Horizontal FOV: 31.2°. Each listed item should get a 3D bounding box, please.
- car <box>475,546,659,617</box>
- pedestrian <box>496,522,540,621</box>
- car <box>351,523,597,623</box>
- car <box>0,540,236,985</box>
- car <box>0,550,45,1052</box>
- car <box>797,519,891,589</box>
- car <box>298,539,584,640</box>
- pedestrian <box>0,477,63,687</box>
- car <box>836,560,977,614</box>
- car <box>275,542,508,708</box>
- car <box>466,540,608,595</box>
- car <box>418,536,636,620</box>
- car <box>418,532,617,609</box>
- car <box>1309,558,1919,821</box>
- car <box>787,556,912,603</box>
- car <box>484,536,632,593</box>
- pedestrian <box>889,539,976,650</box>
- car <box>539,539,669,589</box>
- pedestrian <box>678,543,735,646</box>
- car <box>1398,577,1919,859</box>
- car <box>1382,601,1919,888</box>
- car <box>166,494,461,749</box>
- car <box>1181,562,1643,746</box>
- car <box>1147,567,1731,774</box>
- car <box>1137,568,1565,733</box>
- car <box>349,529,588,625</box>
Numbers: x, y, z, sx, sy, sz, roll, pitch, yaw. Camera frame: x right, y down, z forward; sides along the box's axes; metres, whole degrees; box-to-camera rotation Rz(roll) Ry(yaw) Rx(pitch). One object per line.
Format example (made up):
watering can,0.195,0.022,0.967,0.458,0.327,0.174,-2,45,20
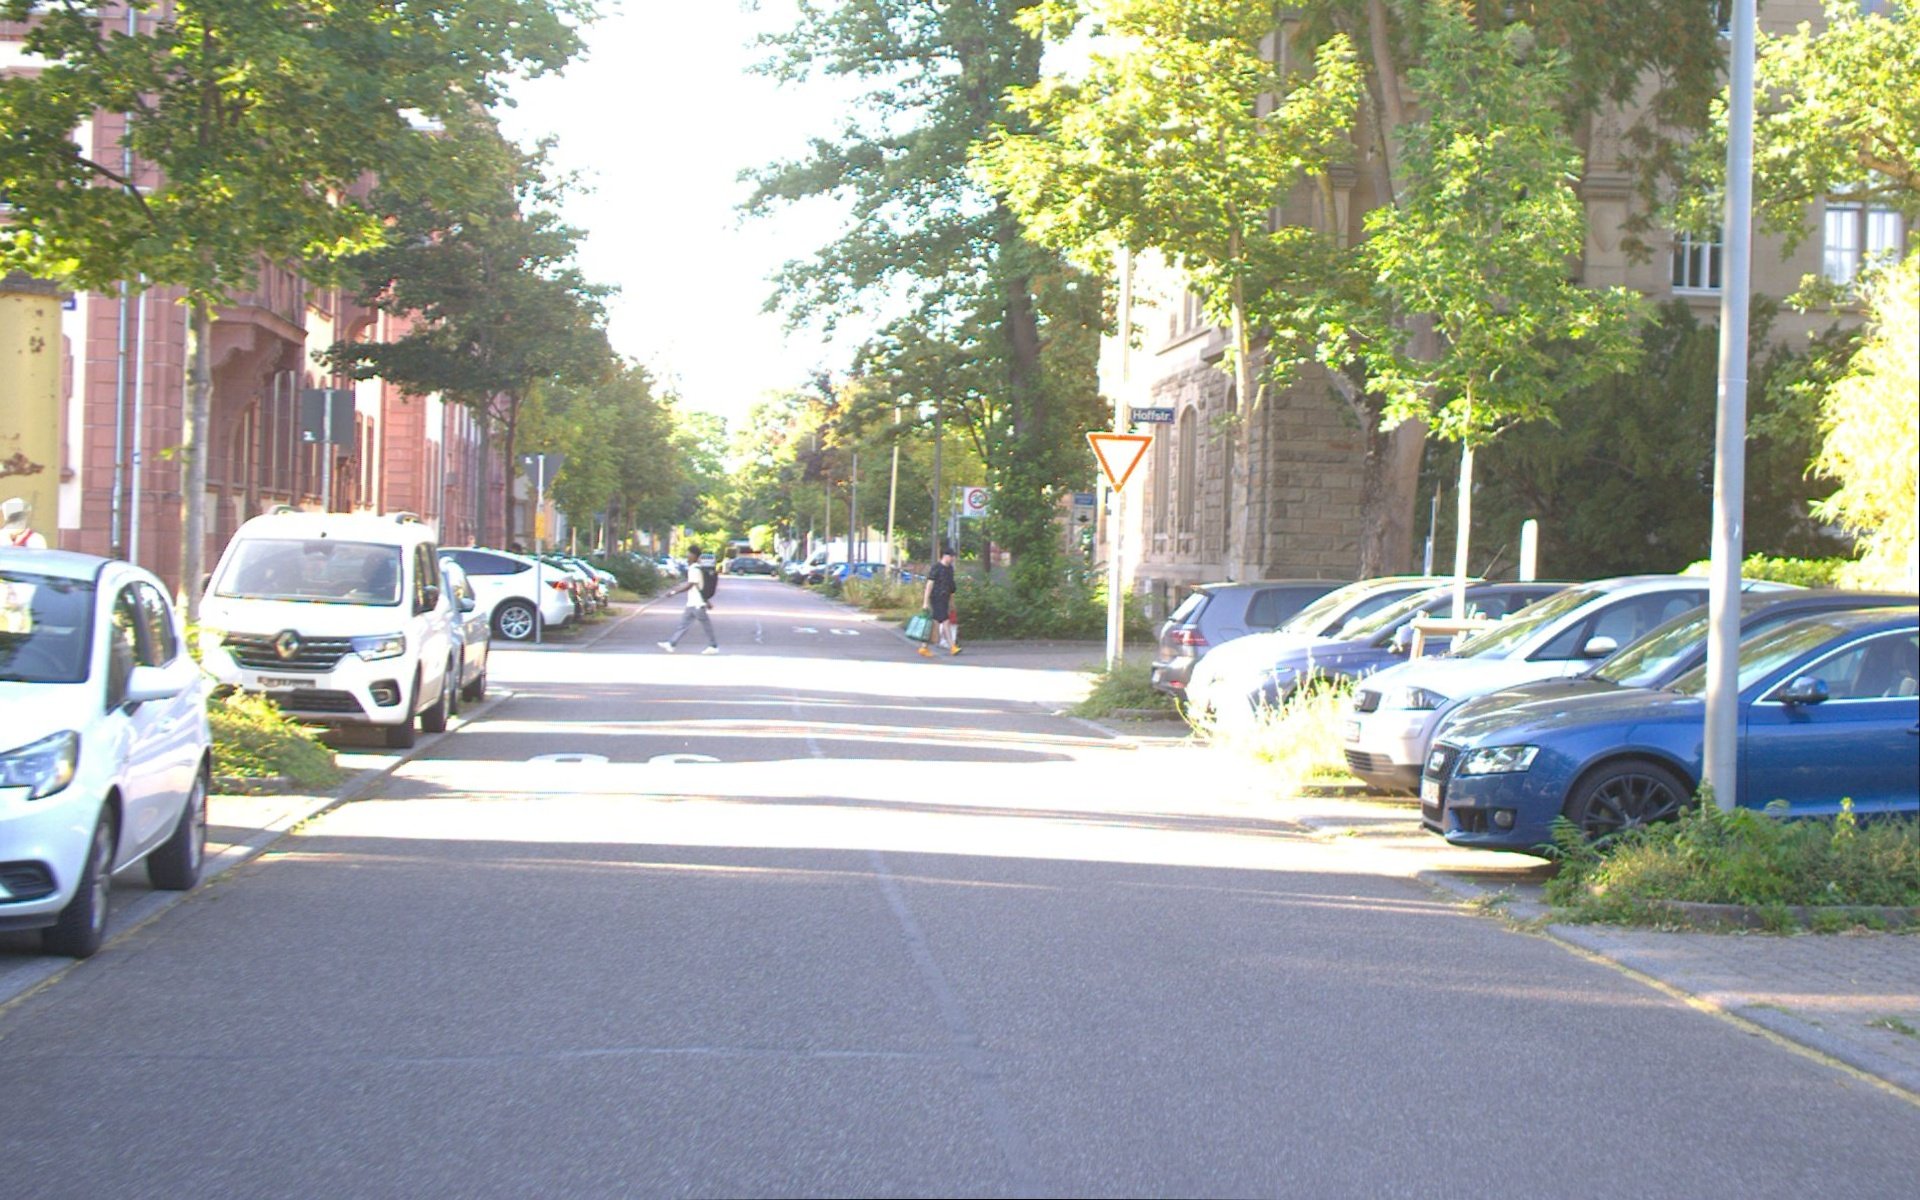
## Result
car,-9.816,-0.470,86.017,4.482,1.602,1.842,2,1,-5
pedestrian,-8.898,-0.565,69.188,0.784,1.955,0.721,2,-1,-11
car,-9.162,-0.516,65.059,4.482,1.711,1.842,2,1,-5
car,-4.006,0.524,13.855,1.592,1.521,3.866,2,1,-4
car,-3.600,0.598,8.578,1.551,1.489,3.943,2,1,0
car,-6.304,-2.509,186.774,4.885,3.605,1.842,2,0,-4
car,-9.092,-0.191,60.512,4.841,1.588,1.842,2,1,-5
pedestrian,-8.151,-0.165,29.691,0.599,1.778,0.946,2,1,-7
car,-1.791,-0.441,113.812,4.482,1.602,1.842,2,1,-5
car,-5.662,0.207,34.689,1.781,1.500,4.553,2,1,-3
car,-13.688,-1.045,111.444,4.482,1.602,1.842,2,1,-5
car,-9.180,-0.475,73.145,4.482,1.602,1.842,2,1,-5
car,-10.290,-0.698,80.156,4.482,1.602,1.842,2,1,-5
car,4.274,0.575,22.686,3.492,1.579,1.763,2,1,-13
car,-4.192,-0.774,130.562,4.582,1.602,1.842,2,1,-5
car,-12.486,-1.105,106.945,4.482,1.602,1.842,2,1,-5
pedestrian,-0.475,-0.095,59.182,1.060,1.851,1.002,2,1,-35
car,-12.573,-1.277,121.471,4.482,1.602,1.842,2,1,-5
pedestrian,-4.029,-0.086,54.578,0.784,1.601,0.721,2,-1,-9
car,4.655,0.687,20.508,3.680,1.518,1.792,2,1,-7
car,4.655,0.716,18.043,4.588,1.410,1.923,0,0,-2
car,-5.113,0.126,27.729,1.781,1.834,4.553,2,1,-4
car,4.088,0.474,31.493,3.954,1.511,1.675,2,1,0
car,3.970,0.572,28.929,4.490,1.544,1.891,2,1,-6
car,3.817,0.510,34.055,3.954,1.511,1.874,1,-2,-2
car,-9.566,-0.453,67.206,4.482,1.711,1.842,2,1,-5
